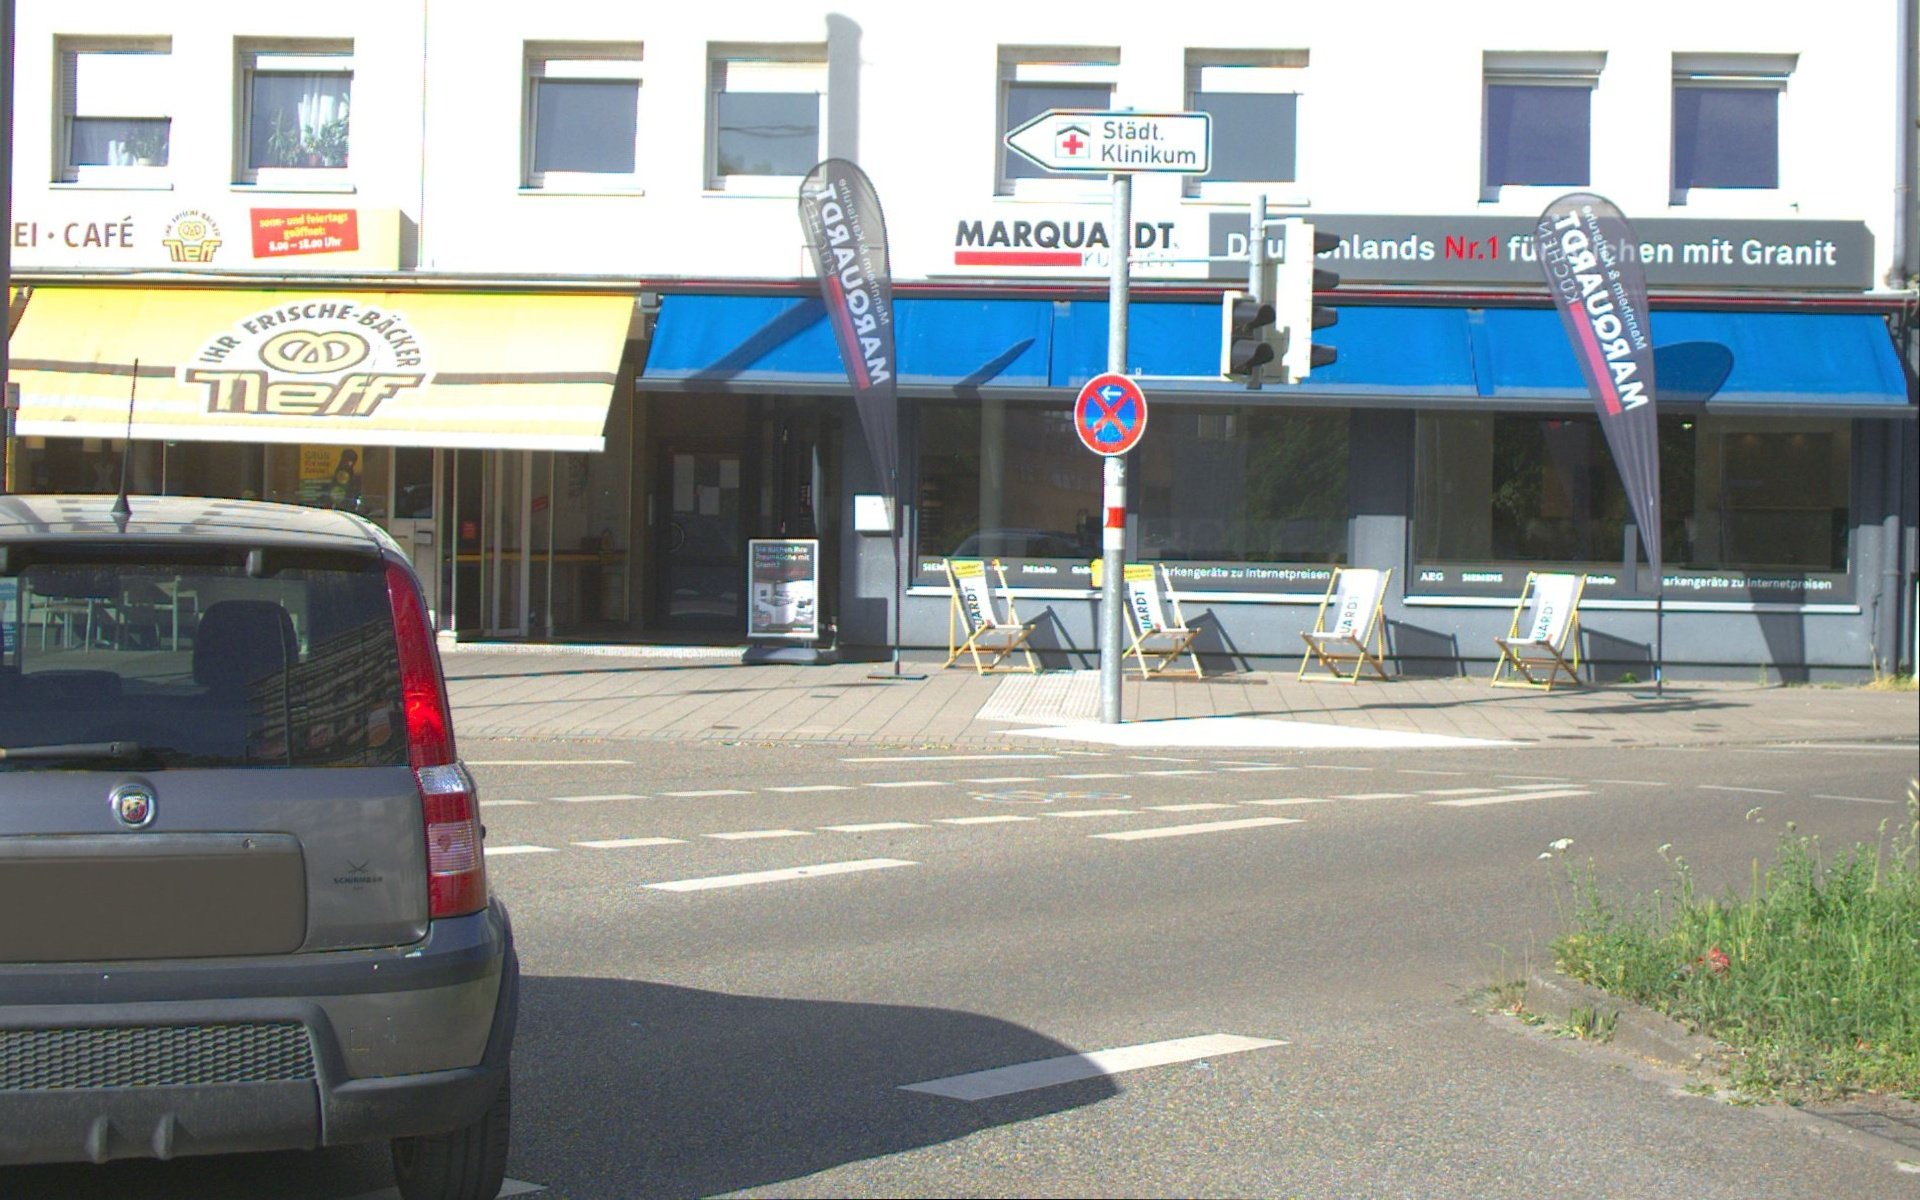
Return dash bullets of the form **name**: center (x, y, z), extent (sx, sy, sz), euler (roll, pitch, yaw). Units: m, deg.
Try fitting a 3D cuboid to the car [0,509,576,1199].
- **car**: center (-2.053, 0.552, 8.086), extent (1.659, 1.505, 3.252), euler (1, 2, -18)
